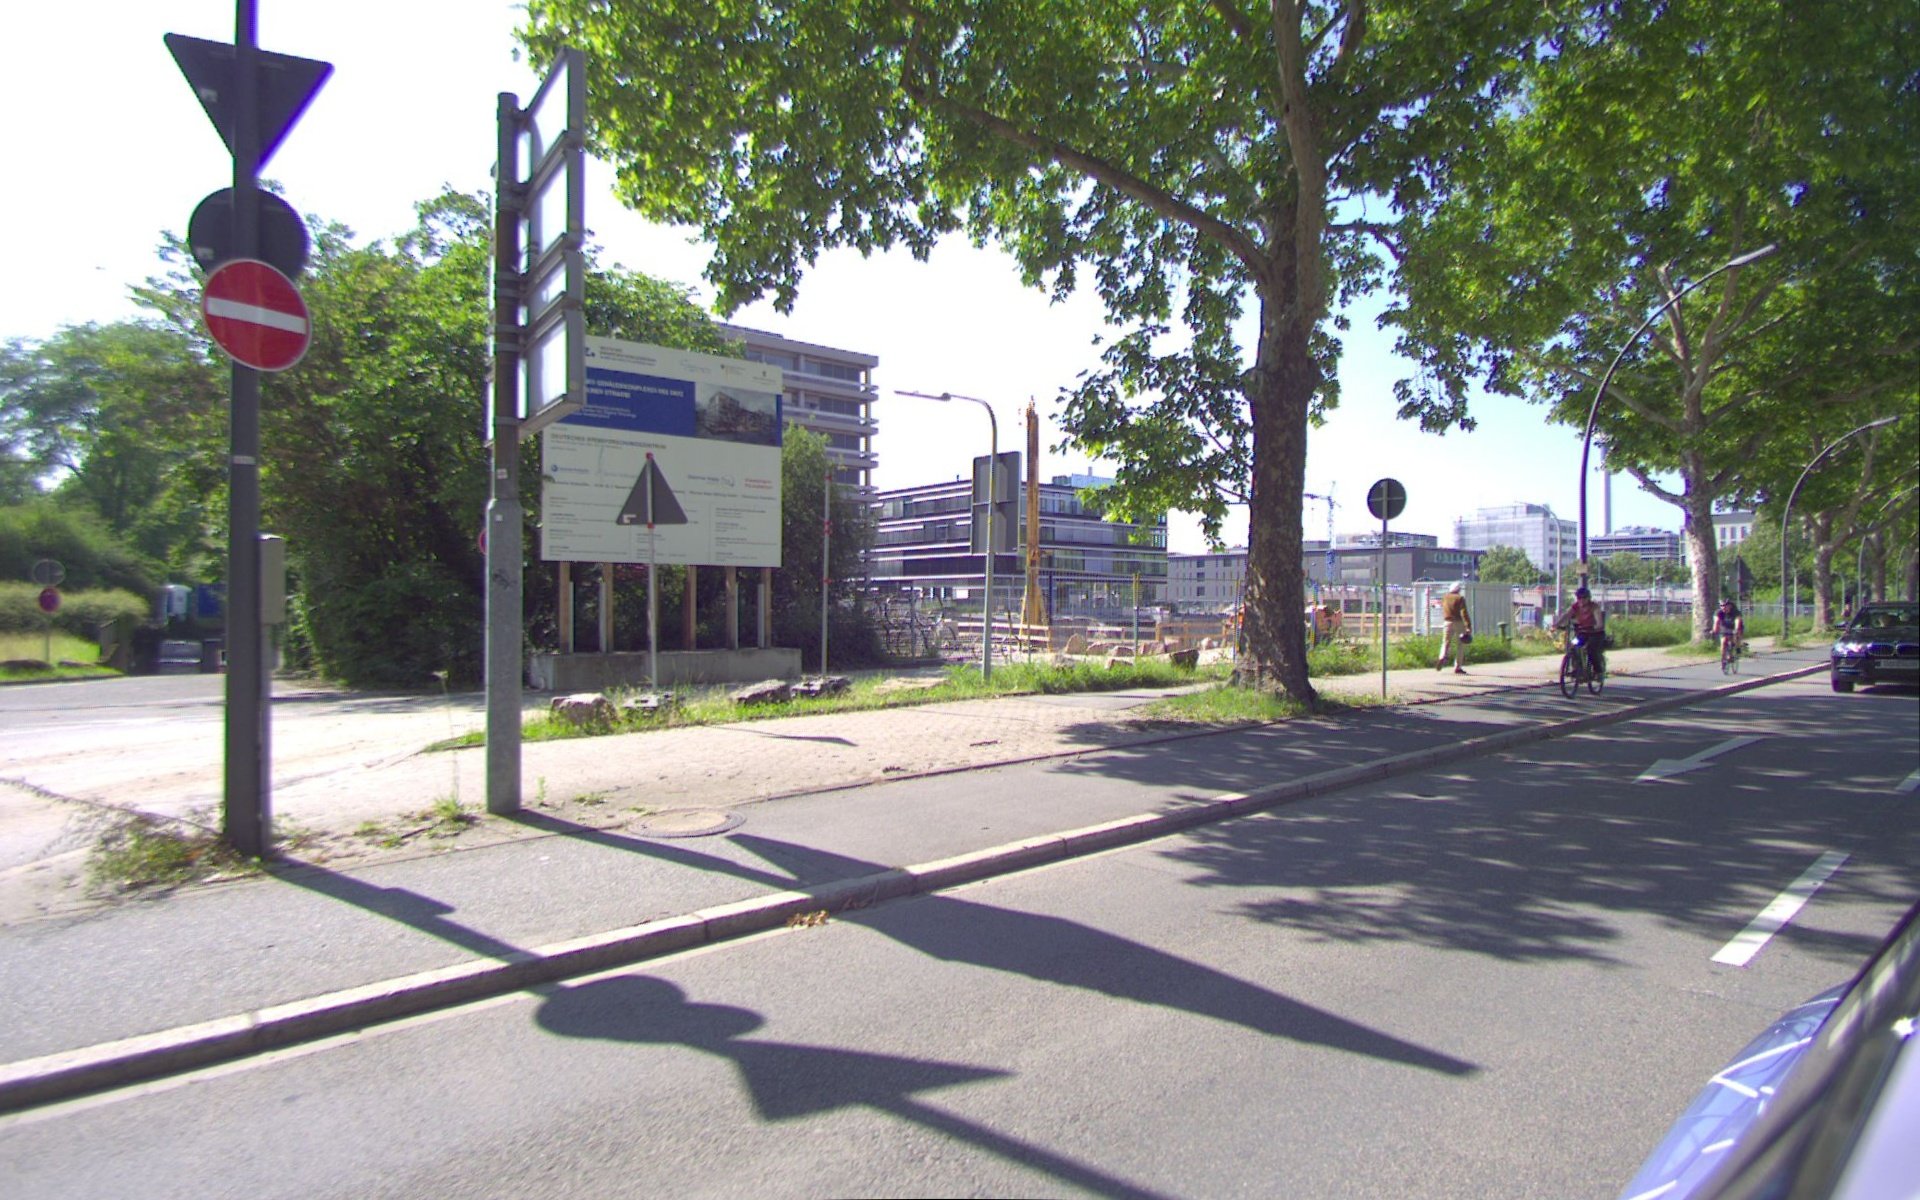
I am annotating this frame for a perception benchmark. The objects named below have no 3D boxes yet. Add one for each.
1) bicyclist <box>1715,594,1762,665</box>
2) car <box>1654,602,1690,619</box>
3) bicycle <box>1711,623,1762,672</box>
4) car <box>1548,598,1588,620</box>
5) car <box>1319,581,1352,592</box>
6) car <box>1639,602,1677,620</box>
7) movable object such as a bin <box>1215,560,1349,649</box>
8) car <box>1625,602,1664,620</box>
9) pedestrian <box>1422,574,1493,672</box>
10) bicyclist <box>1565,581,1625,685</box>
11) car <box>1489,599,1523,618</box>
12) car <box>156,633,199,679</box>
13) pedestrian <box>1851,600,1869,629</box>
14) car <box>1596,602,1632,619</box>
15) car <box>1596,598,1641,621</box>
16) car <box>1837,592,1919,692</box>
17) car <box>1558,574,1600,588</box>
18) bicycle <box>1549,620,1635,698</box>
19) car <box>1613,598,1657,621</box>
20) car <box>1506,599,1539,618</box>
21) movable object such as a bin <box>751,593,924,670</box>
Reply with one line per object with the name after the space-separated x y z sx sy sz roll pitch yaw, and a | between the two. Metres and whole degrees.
17.320 0.648 22.505 1.194 1.508 0.599 1 1 -43 | bicyclist
100.666 1.519 143.084 1.779 2.352 3.989 1 -1 -44 | car
17.241 1.034 22.452 1.751 0.992 0.598 1 1 -43 | bicycle
77.189 1.145 128.516 1.779 2.774 3.989 1 -1 -44 | car
53.693 -1.894 144.787 1.779 1.529 3.989 1 -1 -44 | car
95.573 1.480 138.618 1.779 2.352 3.989 1 -1 -44 | car
12.297 0.206 38.435 5.887 3.111 2.370 1 -2 -45 | movable object such as a bin
89.960 1.435 133.039 1.779 2.352 3.989 1 -1 -44 | car
10.163 0.462 20.676 1.131 1.917 0.940 1 -1 -41 | pedestrian
10.173 0.514 16.215 0.720 1.620 0.620 1 0 -43 | bicyclist
79.004 1.203 146.406 1.779 2.774 3.989 1 -1 -44 | car
-44.010 3.098 56.891 1.739 2.343 4.515 1 -1 -40 | car
54.855 0.892 61.657 1.048 1.746 0.710 1 -2 -43 | pedestrian
92.071 1.473 142.417 1.779 2.352 3.989 1 -1 -44 | car
80.873 1.170 124.348 1.779 2.774 4.366 1 -1 -44 | car
18.276 0.744 19.204 4.079 1.752 1.922 0 -1 -42 | car
74.552 -2.283 121.847 1.779 1.529 3.989 1 -1 -44 | car
10.087 0.904 16.126 1.912 1.144 0.652 1 0 -42 | bicycle
85.997 1.210 128.987 1.779 2.774 4.366 1 -1 -44 | car
83.953 1.242 151.090 1.779 2.774 3.989 1 -1 -44 | car
-8.527 2.202 72.568 11.556 5.243 6.753 0 -1 2 | movable object such as a bin
